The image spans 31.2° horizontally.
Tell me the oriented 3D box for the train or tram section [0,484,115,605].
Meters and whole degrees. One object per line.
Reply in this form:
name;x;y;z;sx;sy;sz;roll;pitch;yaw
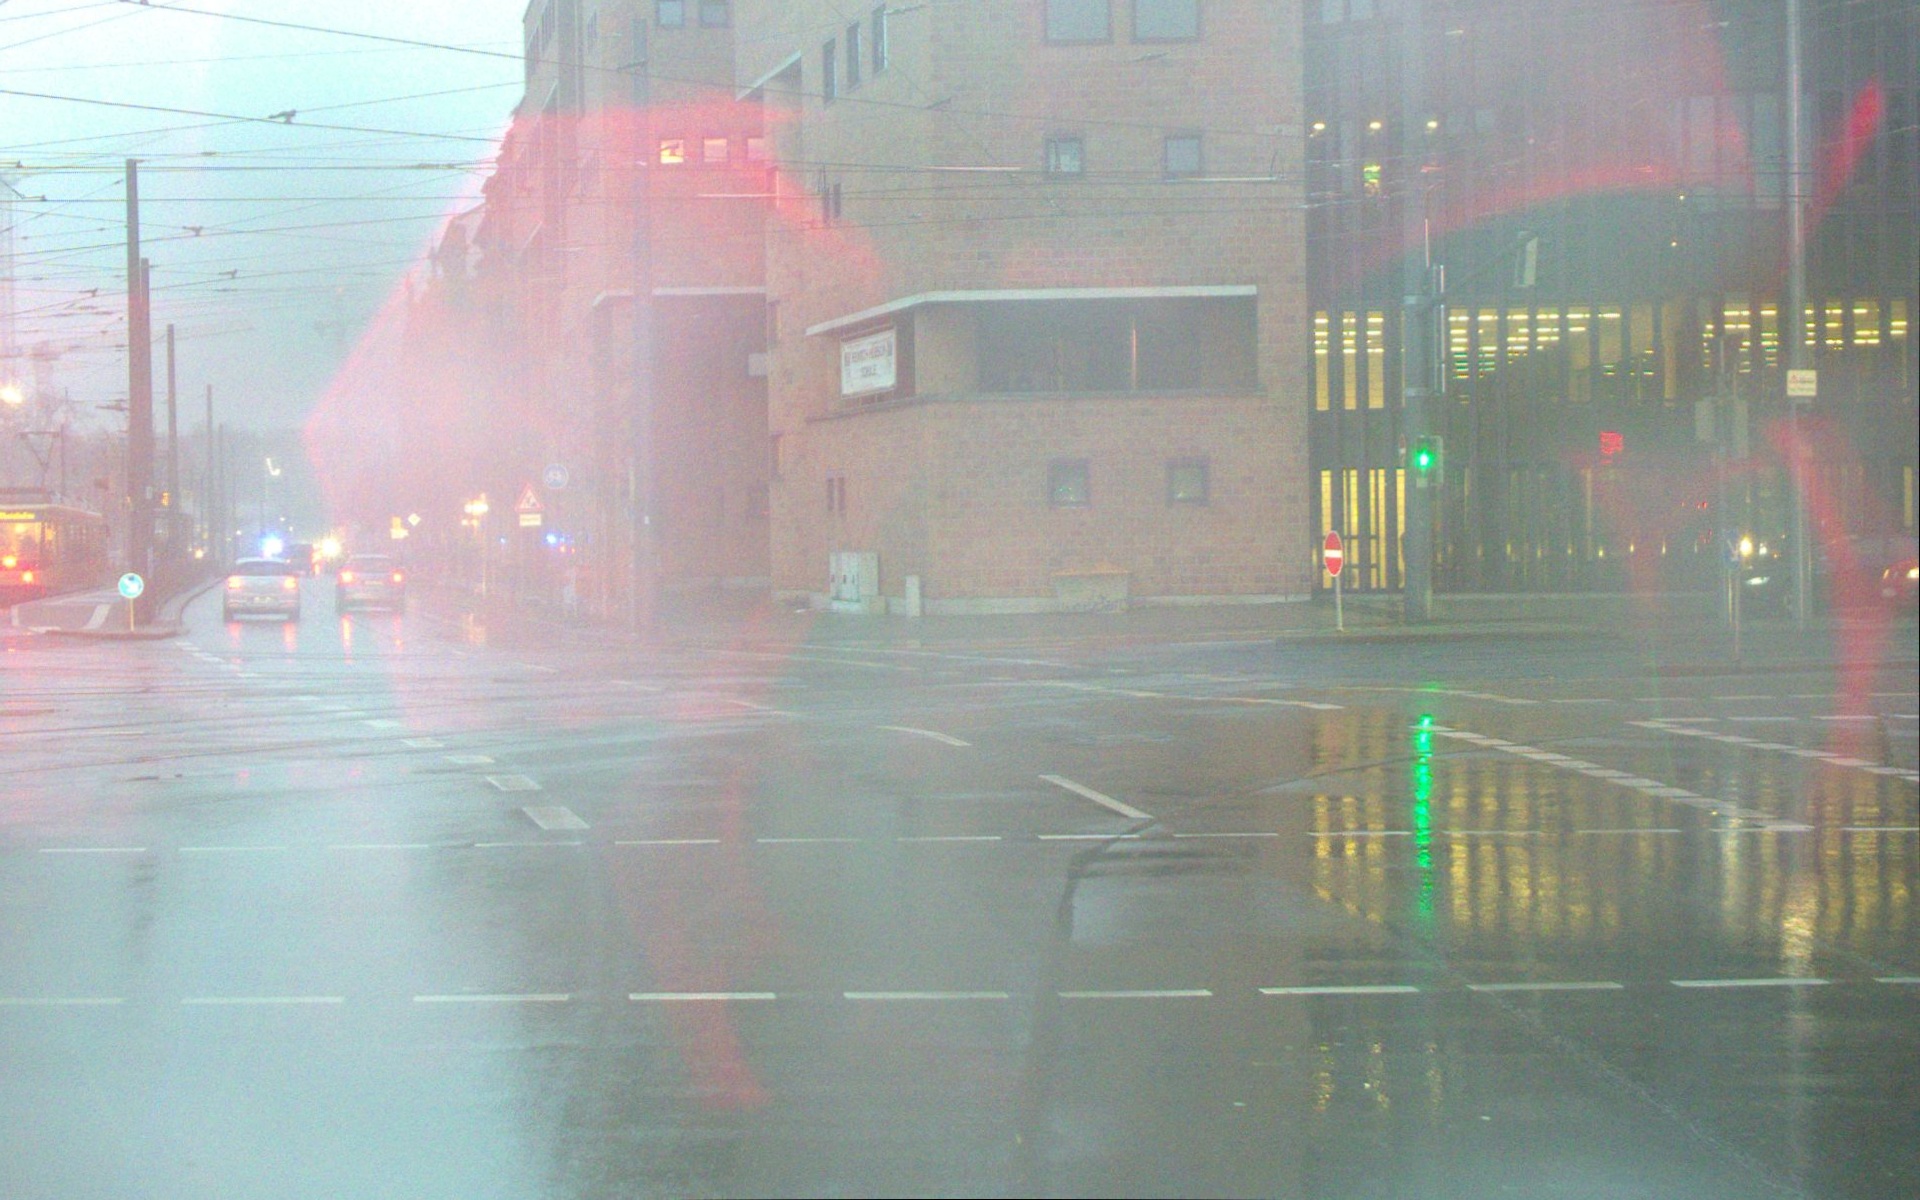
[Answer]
train or tram section;-30.061;-1.785;112.075;3.190;3.424;27.839;-1;1;-10

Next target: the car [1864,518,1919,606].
car;16.598;-0.644;54.939;3.719;1.258;1.848;-1;5;-6

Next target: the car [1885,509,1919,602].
car;15.959;-0.676;50.849;3.986;1.258;1.848;-1;5;-6

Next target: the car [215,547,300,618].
car;-16.599;-0.429;81.366;1.870;1.573;4.001;1;1;-10

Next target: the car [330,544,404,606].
car;-16.055;-0.702;93.198;1.870;1.573;4.001;1;1;-9
